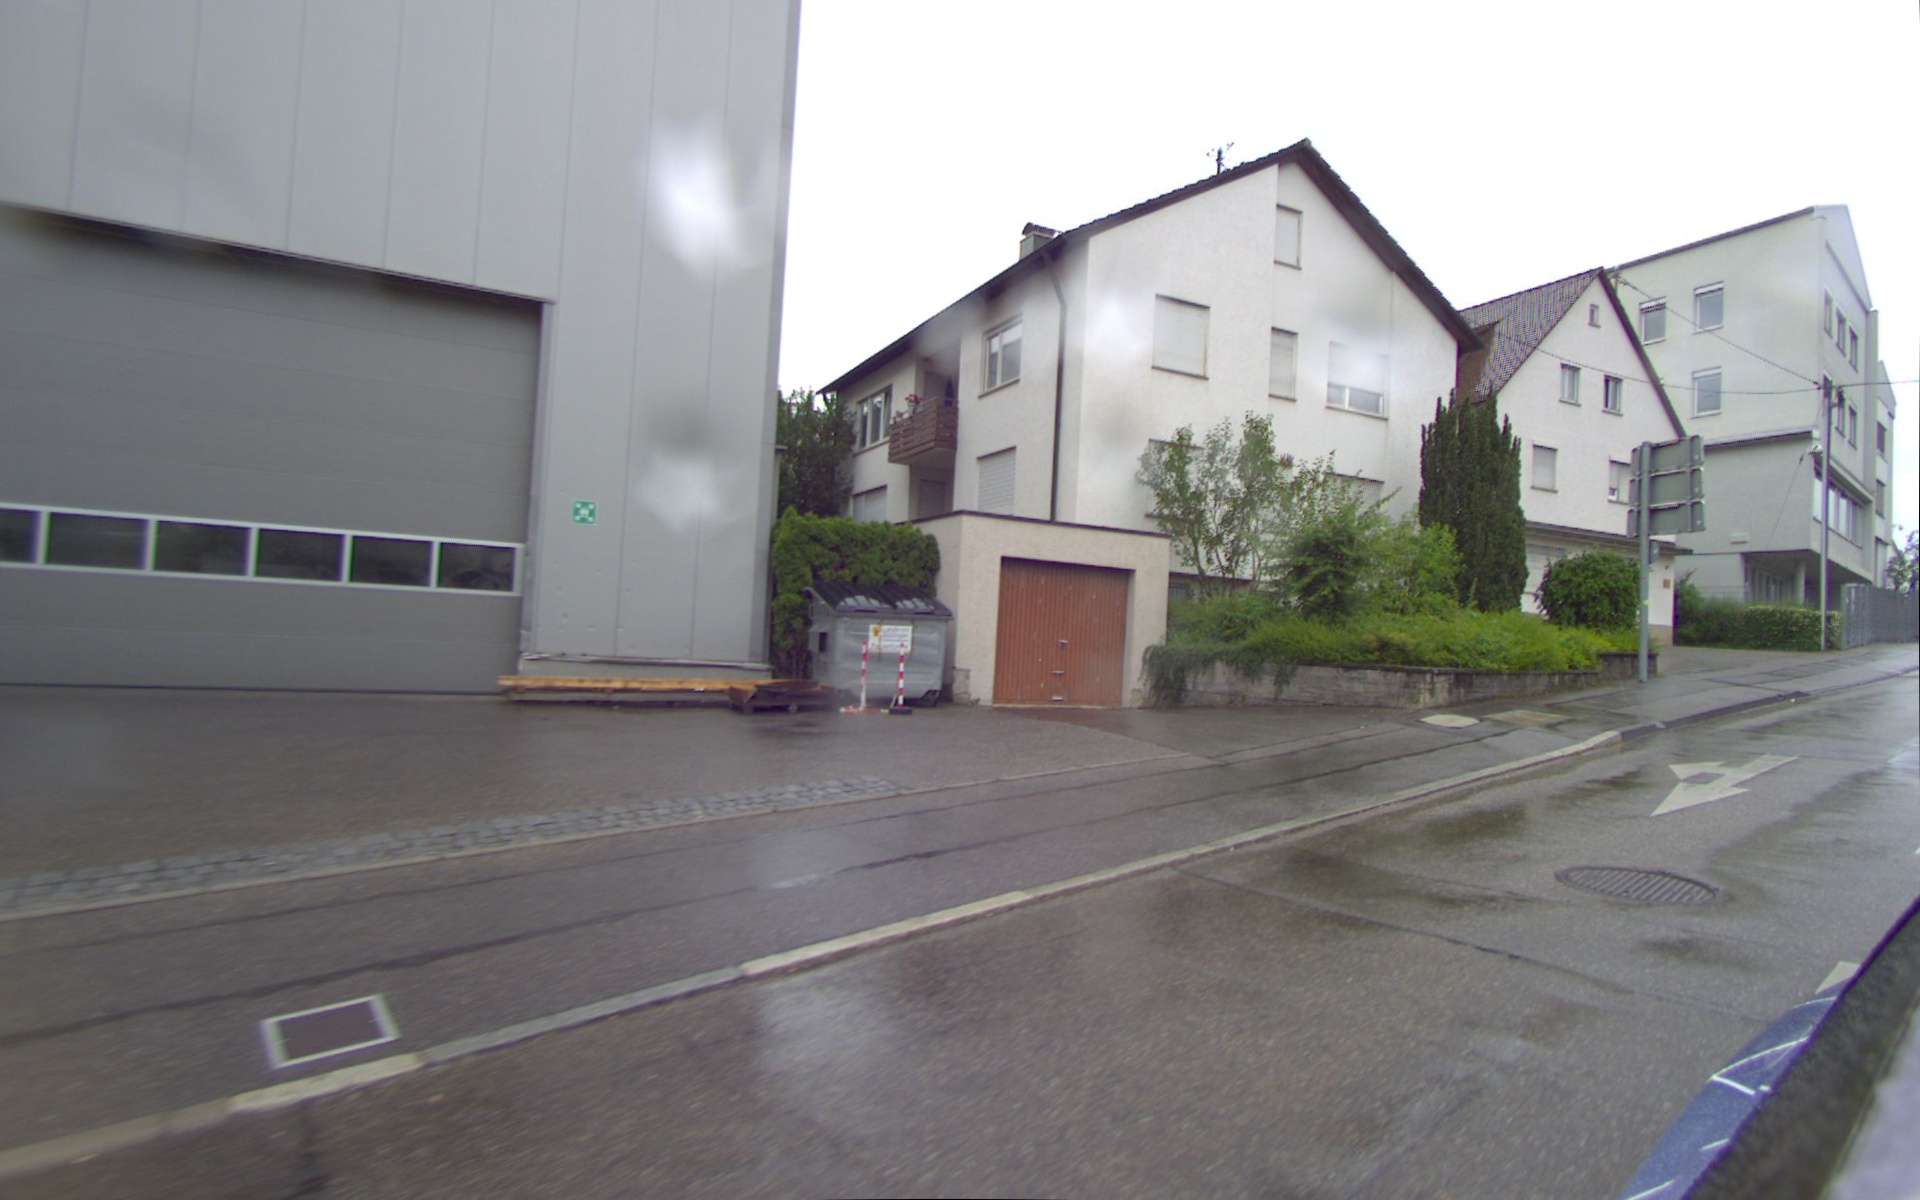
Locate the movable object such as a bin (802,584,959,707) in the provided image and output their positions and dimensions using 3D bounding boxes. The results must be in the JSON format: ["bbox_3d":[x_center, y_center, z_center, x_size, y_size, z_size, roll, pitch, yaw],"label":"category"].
[{"bbox_3d":[-1.090,0.579,13.706,1.742,1.537,1.268,1,1,-25],"label":"movable object such as a bin"}]
